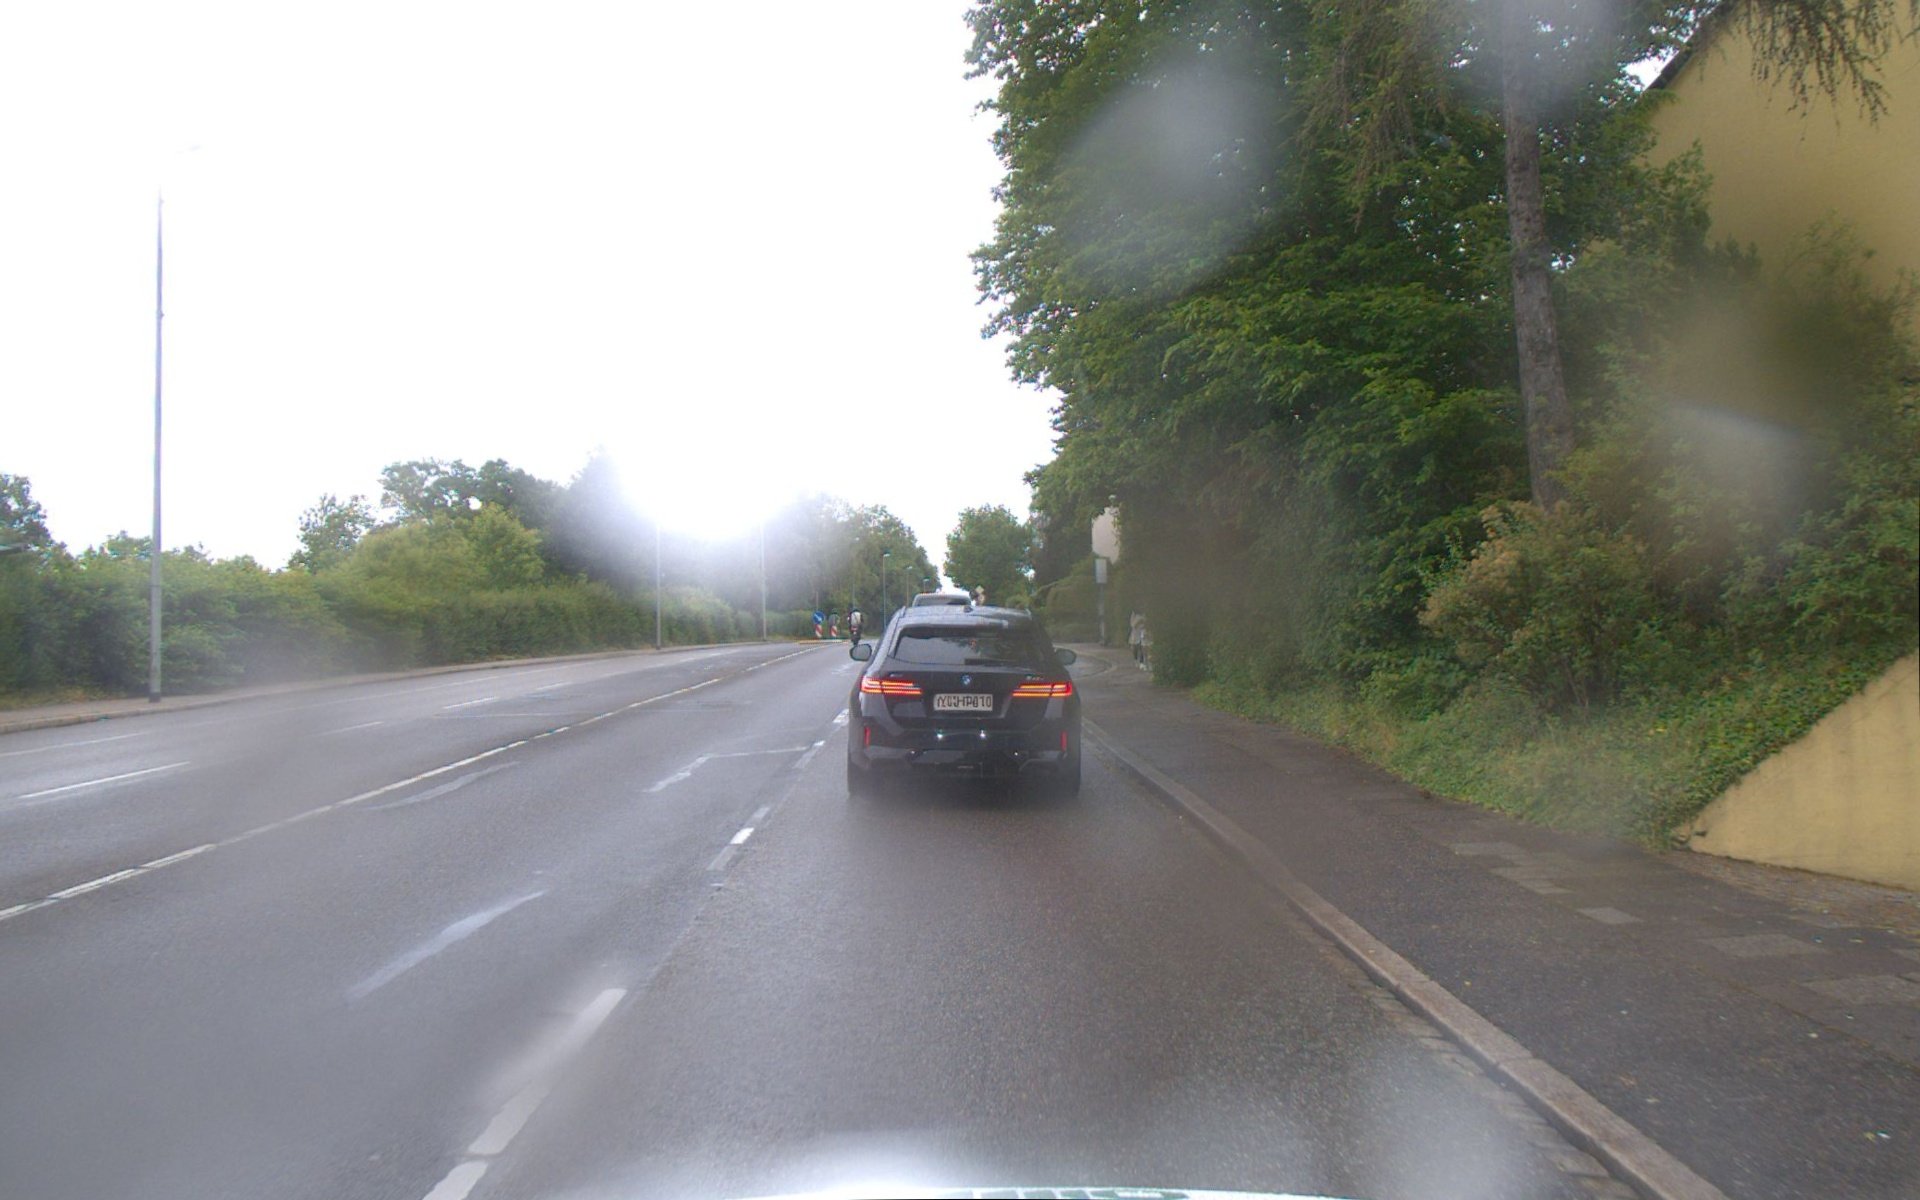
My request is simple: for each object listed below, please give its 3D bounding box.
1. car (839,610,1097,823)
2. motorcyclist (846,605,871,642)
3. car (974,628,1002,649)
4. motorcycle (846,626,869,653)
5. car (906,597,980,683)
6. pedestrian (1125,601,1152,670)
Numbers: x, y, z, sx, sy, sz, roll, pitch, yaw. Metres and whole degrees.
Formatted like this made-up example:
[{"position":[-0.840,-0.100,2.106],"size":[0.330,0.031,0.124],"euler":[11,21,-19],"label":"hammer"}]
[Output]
[{"position":[0.071,0.887,14.095],"size":[1.858,1.515,4.000],"euler":[1,-1,0],"label":"car"},{"position":[-4.449,1.035,72.409],"size":[1.018,1.595,0.855],"euler":[1,-2,-1],"label":"motorcyclist"},{"position":[1.991,2.701,116.326],"size":[1.895,1.467,4.408],"euler":[-1,-1,2],"label":"car"},{"position":[-4.477,1.739,72.416],"size":[0.858,1.144,2.740],"euler":[1,-2,-1],"label":"motorcycle"},{"position":[-0.400,0.912,38.774],"size":[1.596,1.865,3.999],"euler":[-1,-1,-1],"label":"car"},{"position":[4.282,0.844,39.641],"size":[0.597,1.621,0.646],"euler":[-1,-1,7],"label":"pedestrian"}]
